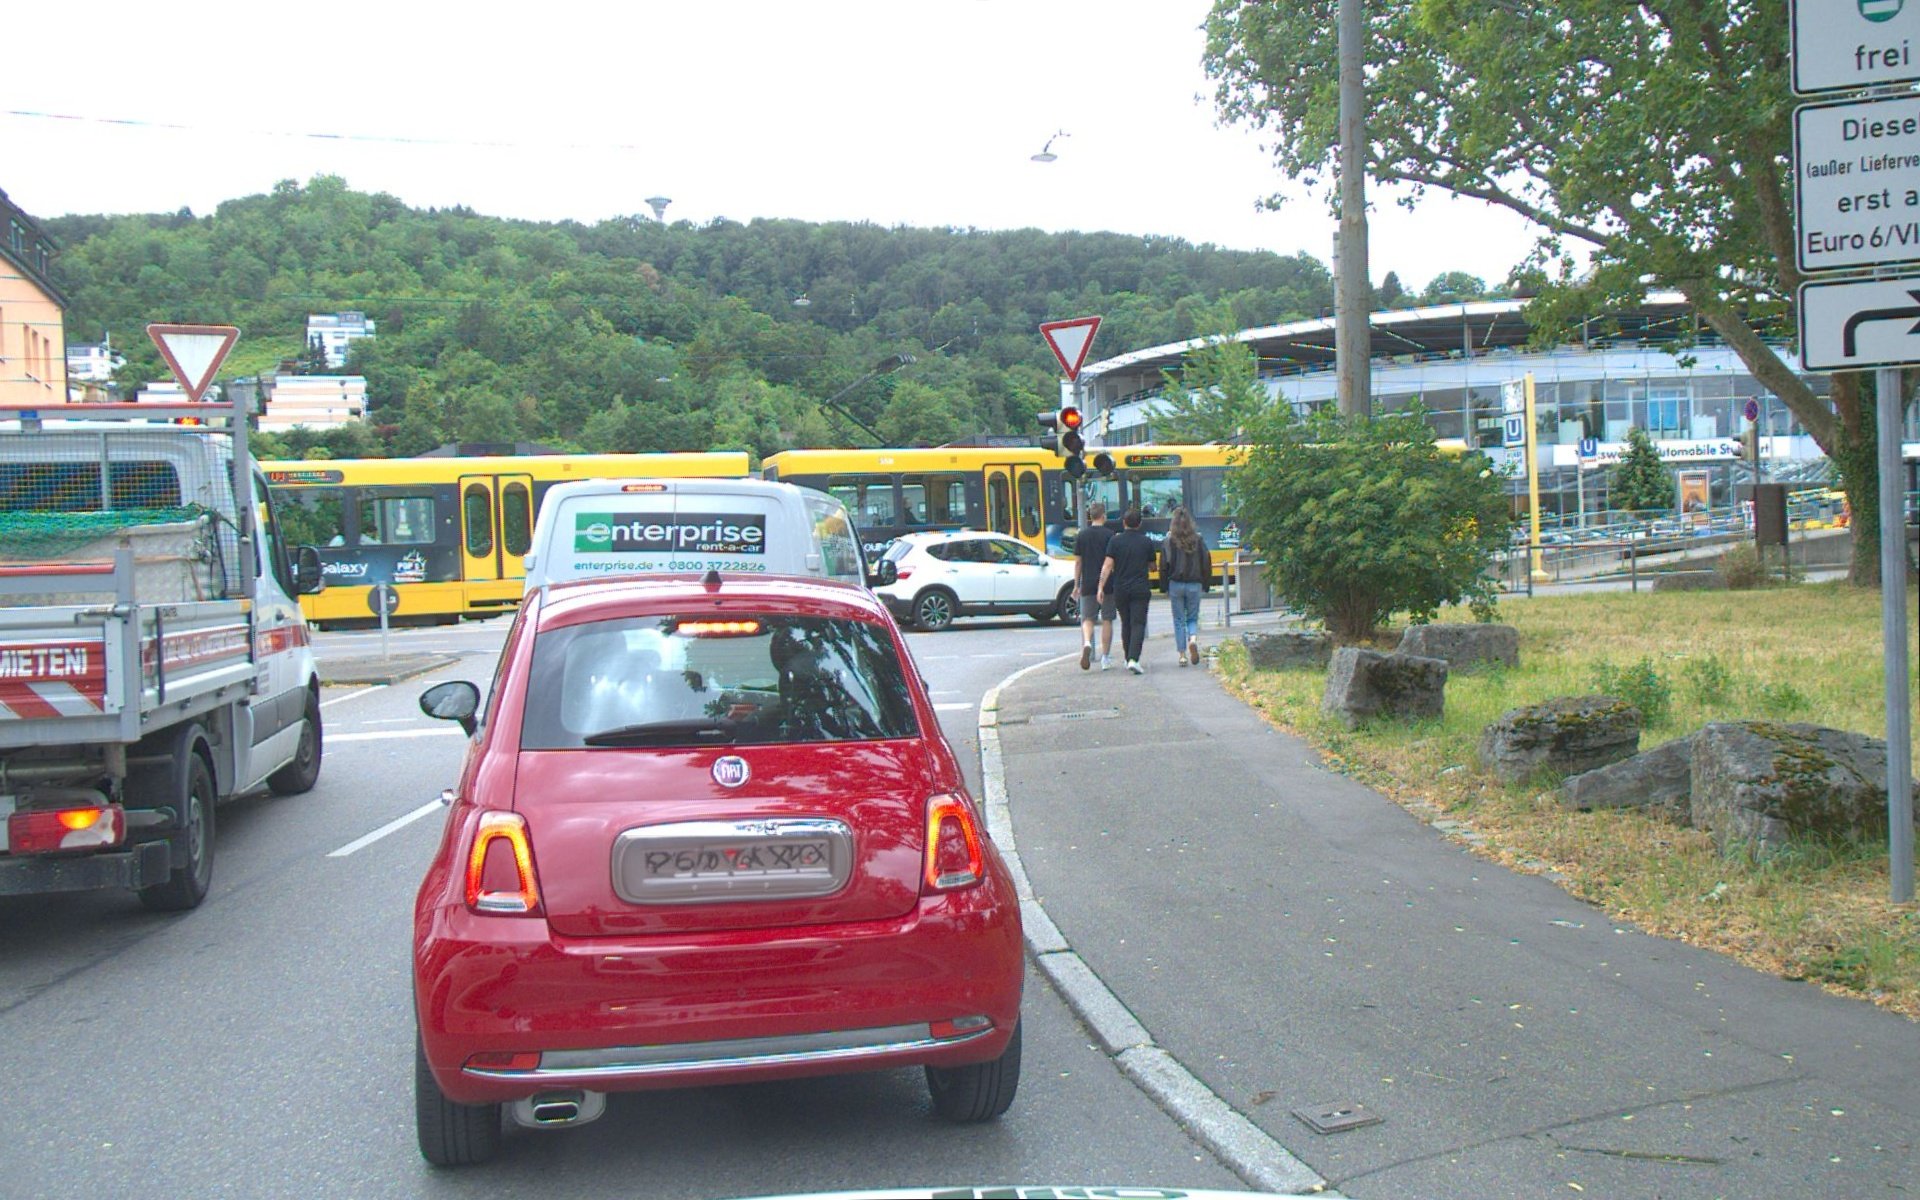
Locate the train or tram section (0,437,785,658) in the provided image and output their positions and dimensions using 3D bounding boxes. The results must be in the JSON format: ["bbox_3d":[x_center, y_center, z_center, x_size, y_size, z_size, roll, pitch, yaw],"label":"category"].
[{"bbox_3d":[-13.099,-1.085,32.846,18.820,3.729,3.261,-3,2,-19],"label":"train or tram section"}]

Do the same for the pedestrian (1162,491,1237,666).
[{"bbox_3d":[2.511,-0.227,17.395,0.678,1.770,0.789,-3,1,6],"label":"pedestrian"}]

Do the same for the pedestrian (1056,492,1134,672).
[{"bbox_3d":[1.478,-0.204,18.025,0.678,1.889,0.789,-2,1,11],"label":"pedestrian"}]

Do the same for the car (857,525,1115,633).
[{"bbox_3d":[0.434,-0.397,28.367,4.052,1.611,1.793,-3,3,-20],"label":"car"}]

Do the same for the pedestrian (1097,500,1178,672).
[{"bbox_3d":[1.881,-0.157,17.441,0.678,1.744,0.789,-2,1,14],"label":"pedestrian"}]

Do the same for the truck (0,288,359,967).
[{"bbox_3d":[-4.848,0.103,8.702,2.381,2.439,6.008,-3,1,-14],"label":"truck"}]

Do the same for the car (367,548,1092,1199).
[{"bbox_3d":[-0.825,0.617,5.470,1.610,1.482,3.421,-2,1,-12],"label":"car"}]

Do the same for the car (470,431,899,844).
[{"bbox_3d":[-1.578,0.142,11.347,1.948,2.143,4.763,-3,1,1],"label":"car"}]

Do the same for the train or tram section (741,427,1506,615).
[{"bbox_3d":[4.406,-2.027,39.492,18.851,3.729,3.256,-3,2,-23],"label":"train or tram section"}]
